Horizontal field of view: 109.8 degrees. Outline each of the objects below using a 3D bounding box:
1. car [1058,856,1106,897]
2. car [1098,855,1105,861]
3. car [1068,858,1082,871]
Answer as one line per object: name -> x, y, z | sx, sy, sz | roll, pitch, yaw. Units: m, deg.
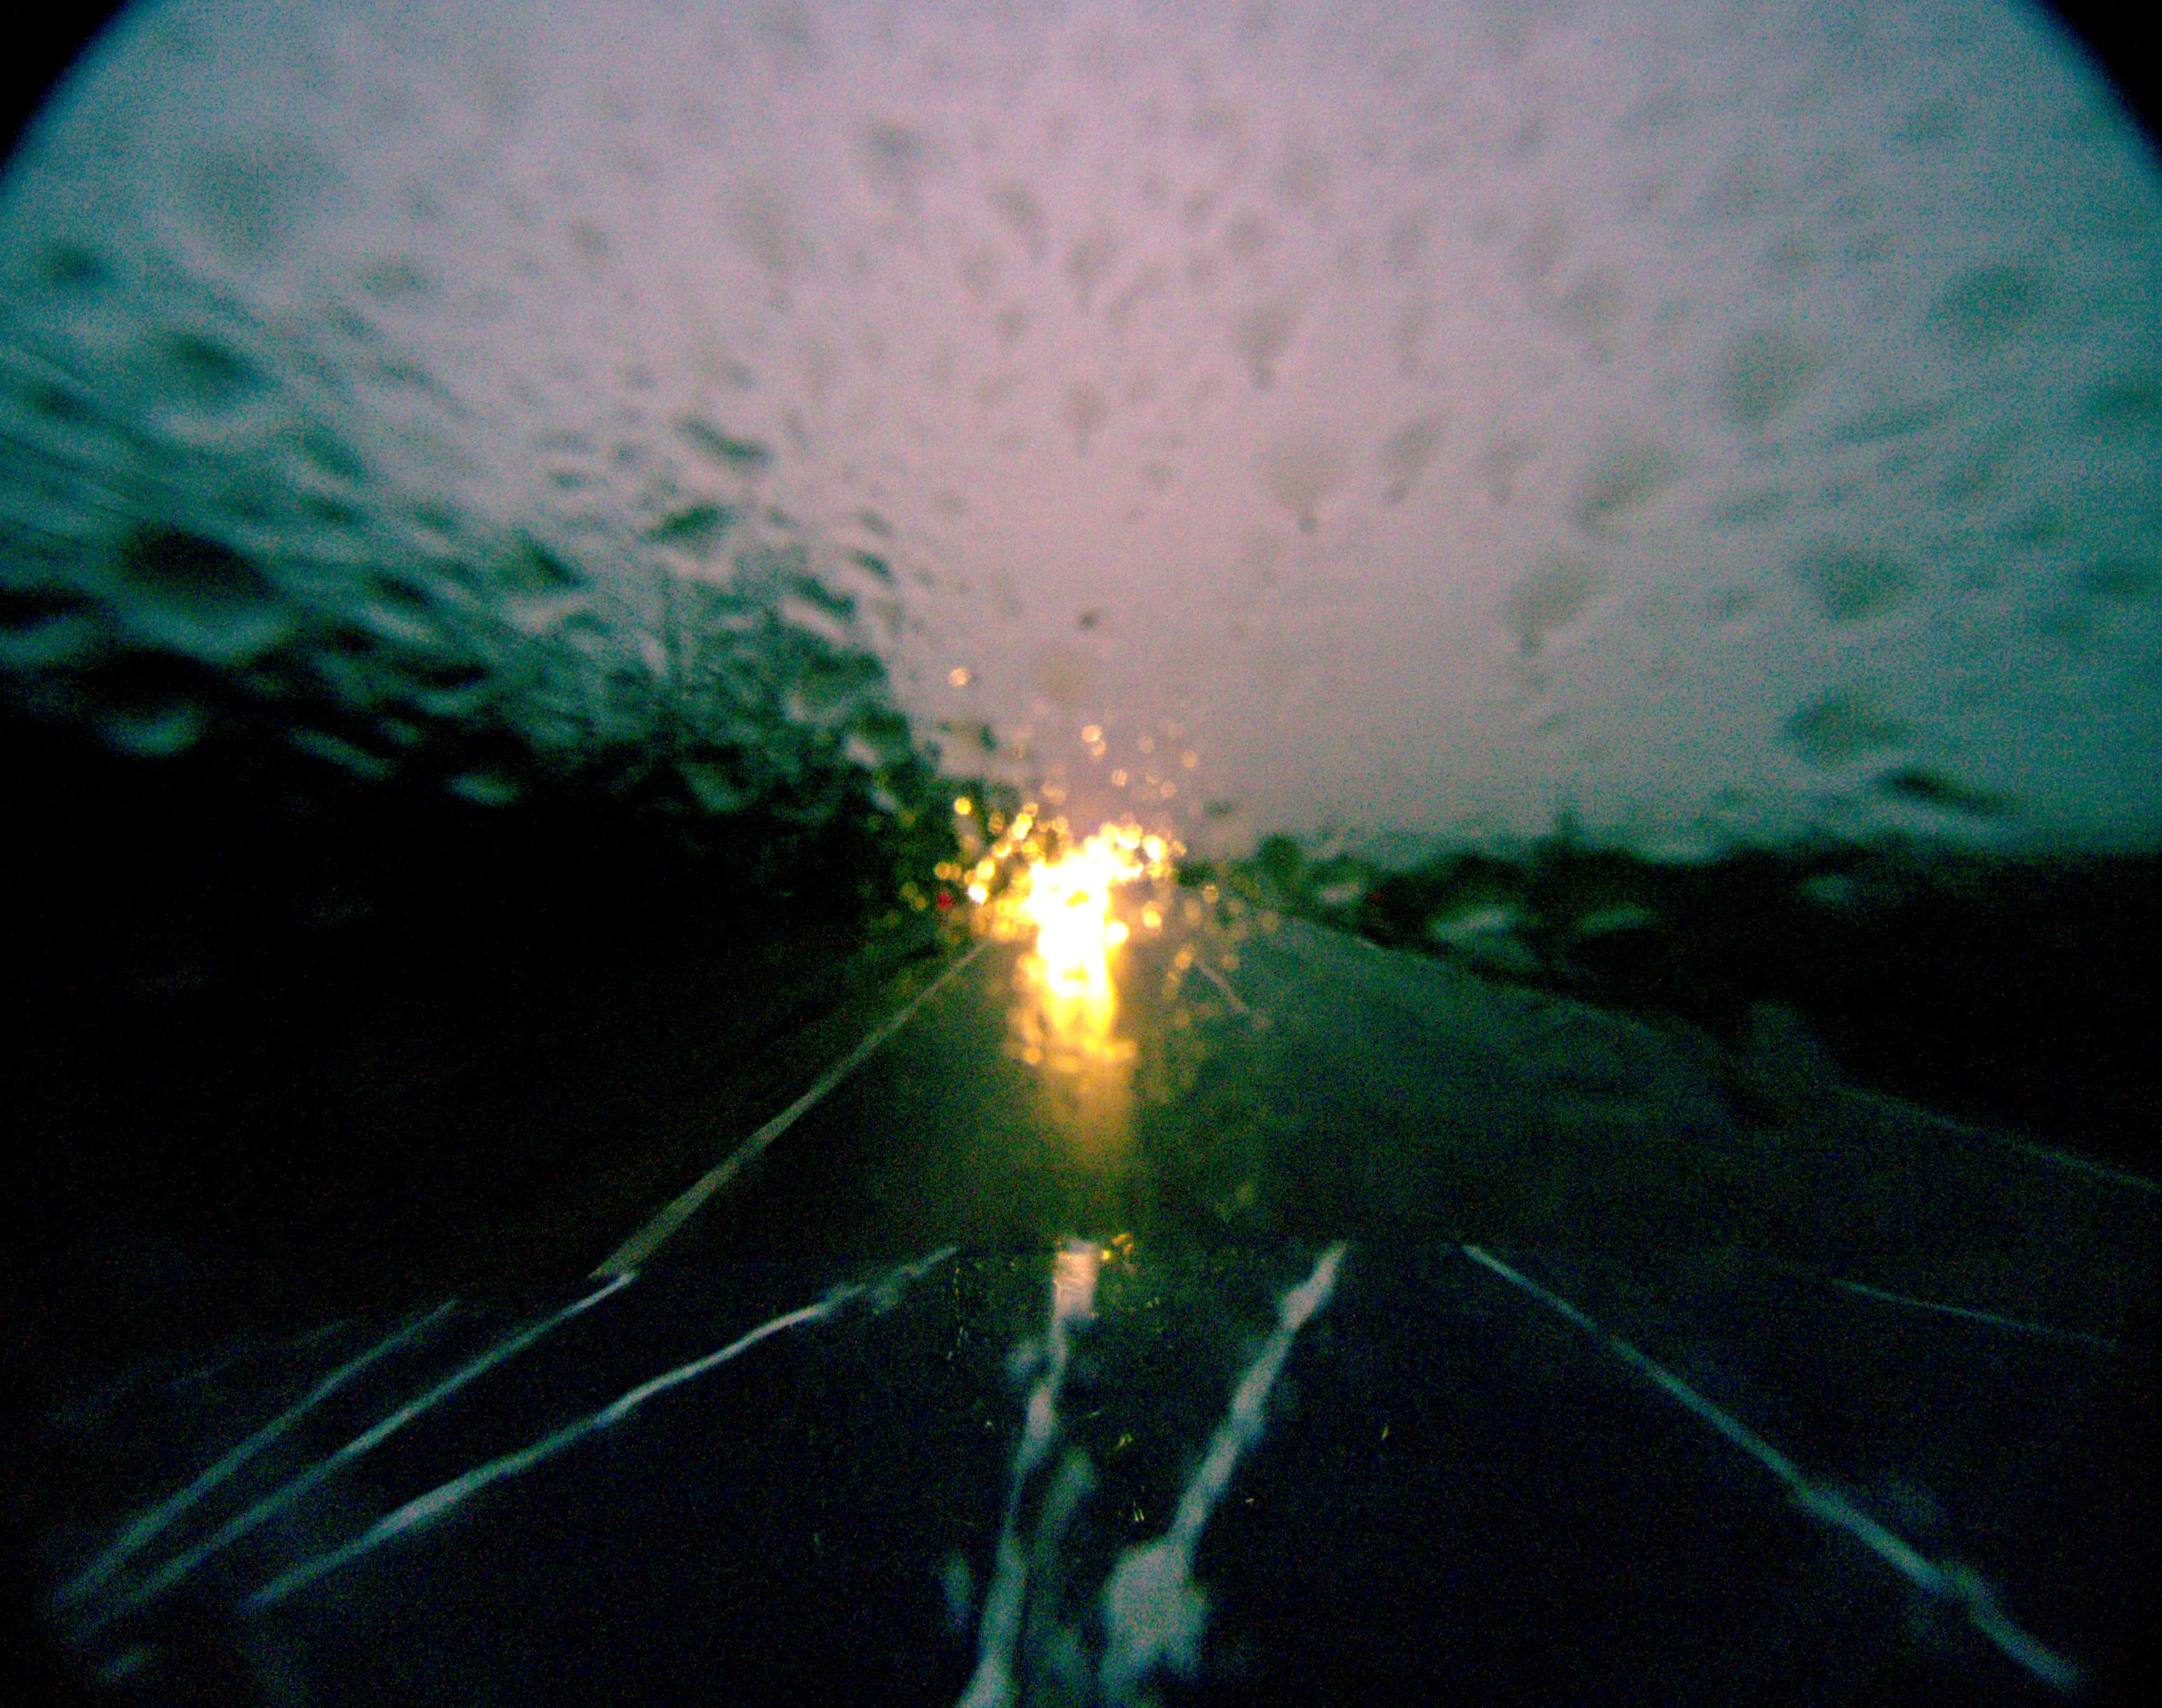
car -> 0.037, 0.883, 31.759 | 1.844, 1.484, 3.956 | -2, 1, 0
car -> 5.978, 1.197, 226.144 | 1.998, 1.455, 4.351 | 3, 1, 1
car -> -0.925, 1.576, 114.304 | 1.933, 1.740, 4.000 | -2, 1, 1
